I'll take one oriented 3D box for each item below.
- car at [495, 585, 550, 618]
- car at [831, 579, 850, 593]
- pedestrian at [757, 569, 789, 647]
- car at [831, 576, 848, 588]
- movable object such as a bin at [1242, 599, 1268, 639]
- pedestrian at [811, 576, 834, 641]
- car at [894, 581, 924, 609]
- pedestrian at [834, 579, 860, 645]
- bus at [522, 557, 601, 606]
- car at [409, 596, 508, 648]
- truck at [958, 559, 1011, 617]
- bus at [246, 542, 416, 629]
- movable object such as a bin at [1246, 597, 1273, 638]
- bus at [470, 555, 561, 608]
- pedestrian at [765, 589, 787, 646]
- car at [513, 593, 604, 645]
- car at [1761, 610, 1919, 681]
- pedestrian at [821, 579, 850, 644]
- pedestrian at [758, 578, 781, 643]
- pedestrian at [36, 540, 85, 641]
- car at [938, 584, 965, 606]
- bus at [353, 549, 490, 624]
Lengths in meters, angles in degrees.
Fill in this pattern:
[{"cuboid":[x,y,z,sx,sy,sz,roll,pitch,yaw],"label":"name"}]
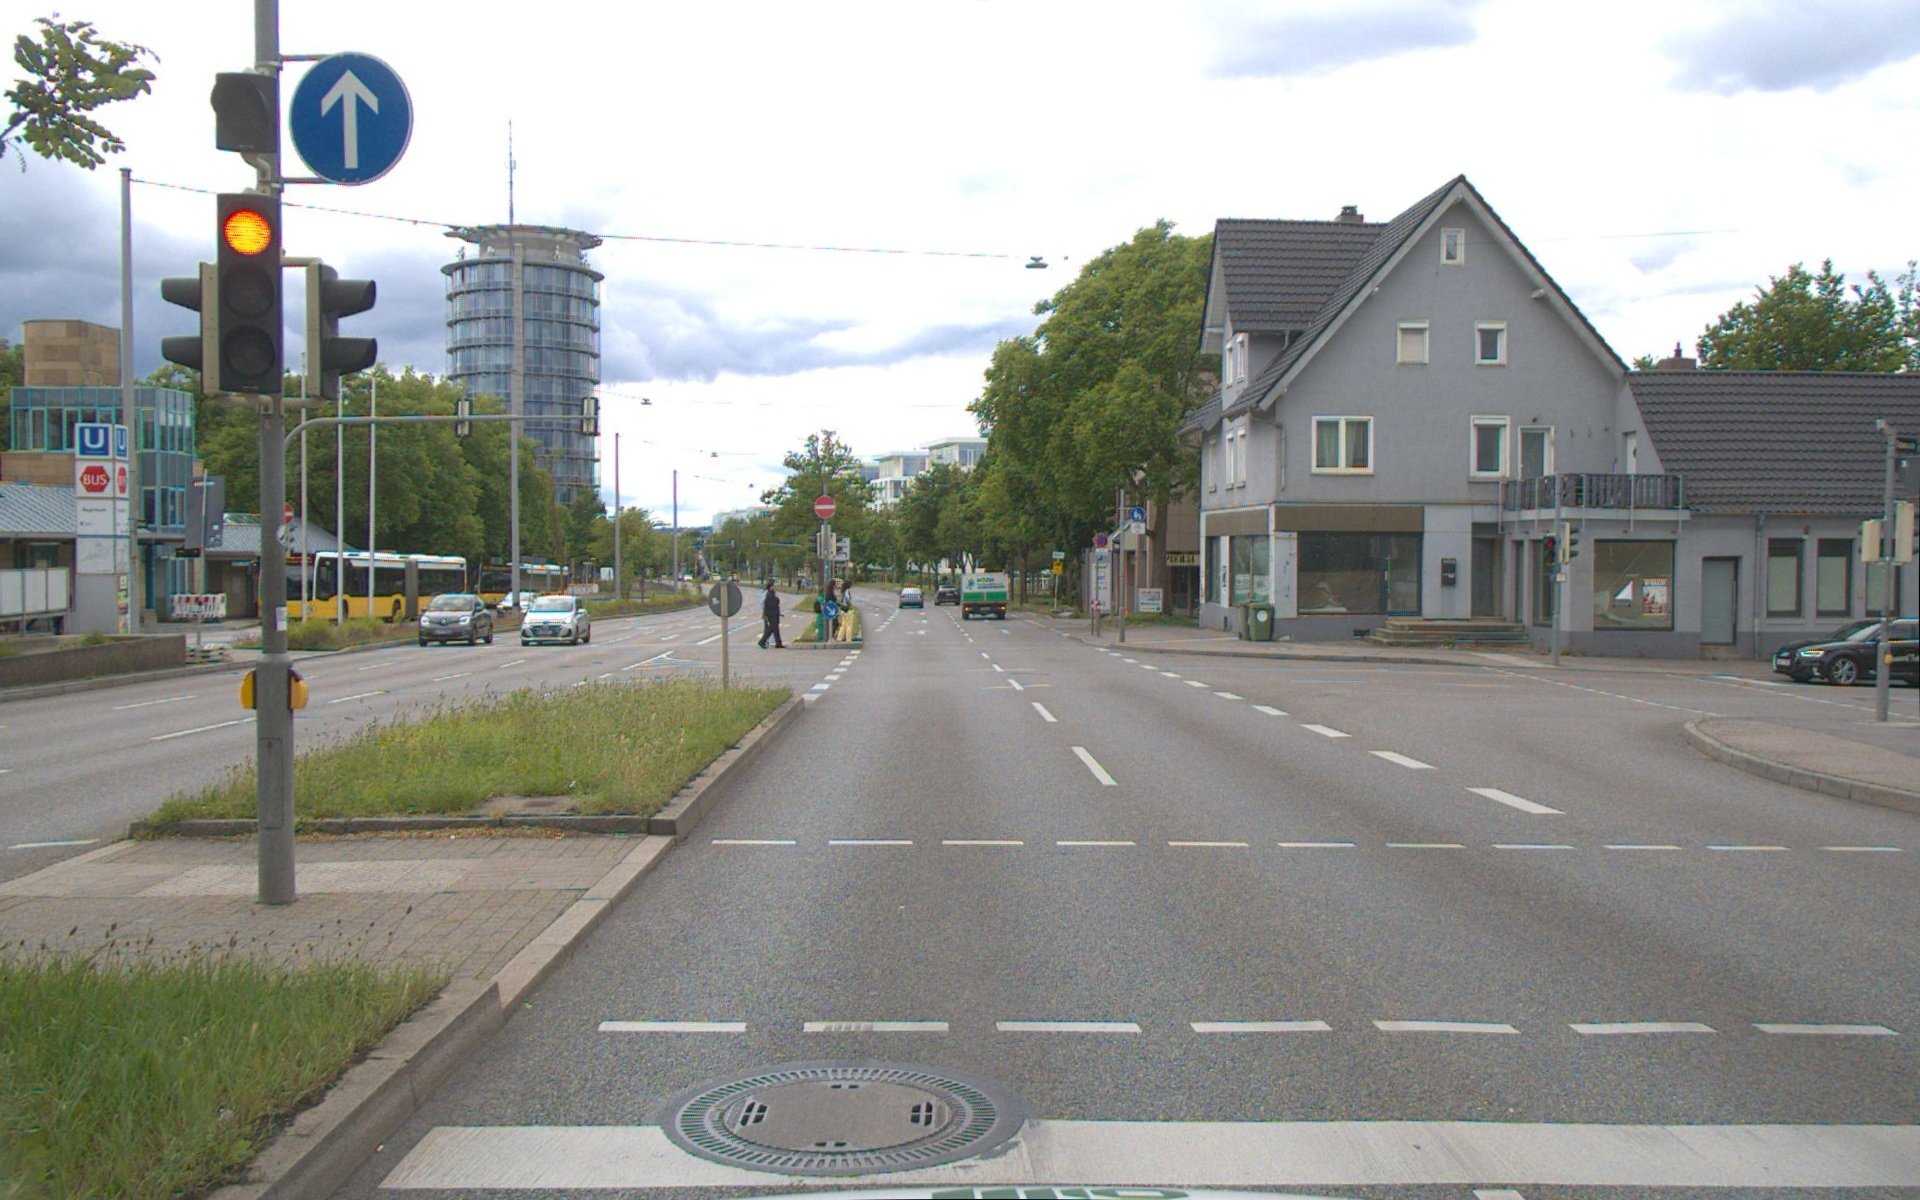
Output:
[{"cuboid":[-22.802,0.072,86.304,1.769,1.691,4.000,0,0,0],"label":"car"},{"cuboid":[-12.759,-1.489,175.971,1.954,1.545,3.996,0,1,-5],"label":"car"},{"cuboid":[-4.939,0.202,43.701,0.814,2.049,0.545,0,0,-8],"label":"pedestrian"},{"cuboid":[-16.227,-2.402,222.983,1.957,1.579,3.991,-1,0,-10],"label":"car"},{"cuboid":[7.959,0.501,44.646,0.603,1.061,0.589,1,0,1],"label":"movable object such as a bin"},{"cuboid":[-3.764,0.233,45.283,0.572,1.746,0.545,0,0,-8],"label":"pedestrian"},{"cuboid":[-3.482,-0.355,113.052,1.953,1.862,3.999,0,0,-1],"label":"car"},{"cuboid":[-3.002,0.318,43.916,0.641,1.746,0.451,0,0,-8],"label":"pedestrian"},{"cuboid":[-29.820,-1.378,124.398,2.772,3.490,10.737,0,0,3],"label":"bus"},{"cuboid":[-15.455,0.652,51.153,1.953,1.512,3.998,-1,0,-2],"label":"car"},{"cuboid":[1.173,-0.661,80.564,2.420,2.656,6.549,1,1,0],"label":"truck"},{"cuboid":[-27.097,-0.606,71.958,2.772,3.490,10.737,0,0,3],"label":"bus"},{"cuboid":[7.956,0.464,43.908,0.592,1.078,0.589,1,0,1],"label":"movable object such as a bin"},{"cuboid":[-30.385,-1.228,113.649,2.772,3.490,10.737,0,0,3],"label":"bus"},{"cuboid":[-4.973,0.459,44.679,0.533,1.522,0.485,0,0,-12],"label":"pedestrian"},{"cuboid":[-12.268,0.545,50.761,1.953,1.512,3.998,-1,0,-2],"label":"car"},{"cuboid":[19.578,0.978,35.381,4.006,1.395,1.799,2,0,-2],"label":"car"},{"cuboid":[-3.349,0.312,44.542,0.731,1.746,0.582,0,0,-8],"label":"pedestrian"},{"cuboid":[-5.218,0.283,45.292,0.601,1.746,0.545,0,0,-8],"label":"pedestrian"},{"cuboid":[-18.497,-0.203,34.018,0.668,2.049,0.645,0,0,-5],"label":"pedestrian"},{"cuboid":[-0.636,-0.360,122.845,1.953,1.579,3.999,1,0,-1],"label":"car"},{"cuboid":[-26.553,-0.651,82.273,2.772,3.490,10.737,0,0,3],"label":"bus"}]
